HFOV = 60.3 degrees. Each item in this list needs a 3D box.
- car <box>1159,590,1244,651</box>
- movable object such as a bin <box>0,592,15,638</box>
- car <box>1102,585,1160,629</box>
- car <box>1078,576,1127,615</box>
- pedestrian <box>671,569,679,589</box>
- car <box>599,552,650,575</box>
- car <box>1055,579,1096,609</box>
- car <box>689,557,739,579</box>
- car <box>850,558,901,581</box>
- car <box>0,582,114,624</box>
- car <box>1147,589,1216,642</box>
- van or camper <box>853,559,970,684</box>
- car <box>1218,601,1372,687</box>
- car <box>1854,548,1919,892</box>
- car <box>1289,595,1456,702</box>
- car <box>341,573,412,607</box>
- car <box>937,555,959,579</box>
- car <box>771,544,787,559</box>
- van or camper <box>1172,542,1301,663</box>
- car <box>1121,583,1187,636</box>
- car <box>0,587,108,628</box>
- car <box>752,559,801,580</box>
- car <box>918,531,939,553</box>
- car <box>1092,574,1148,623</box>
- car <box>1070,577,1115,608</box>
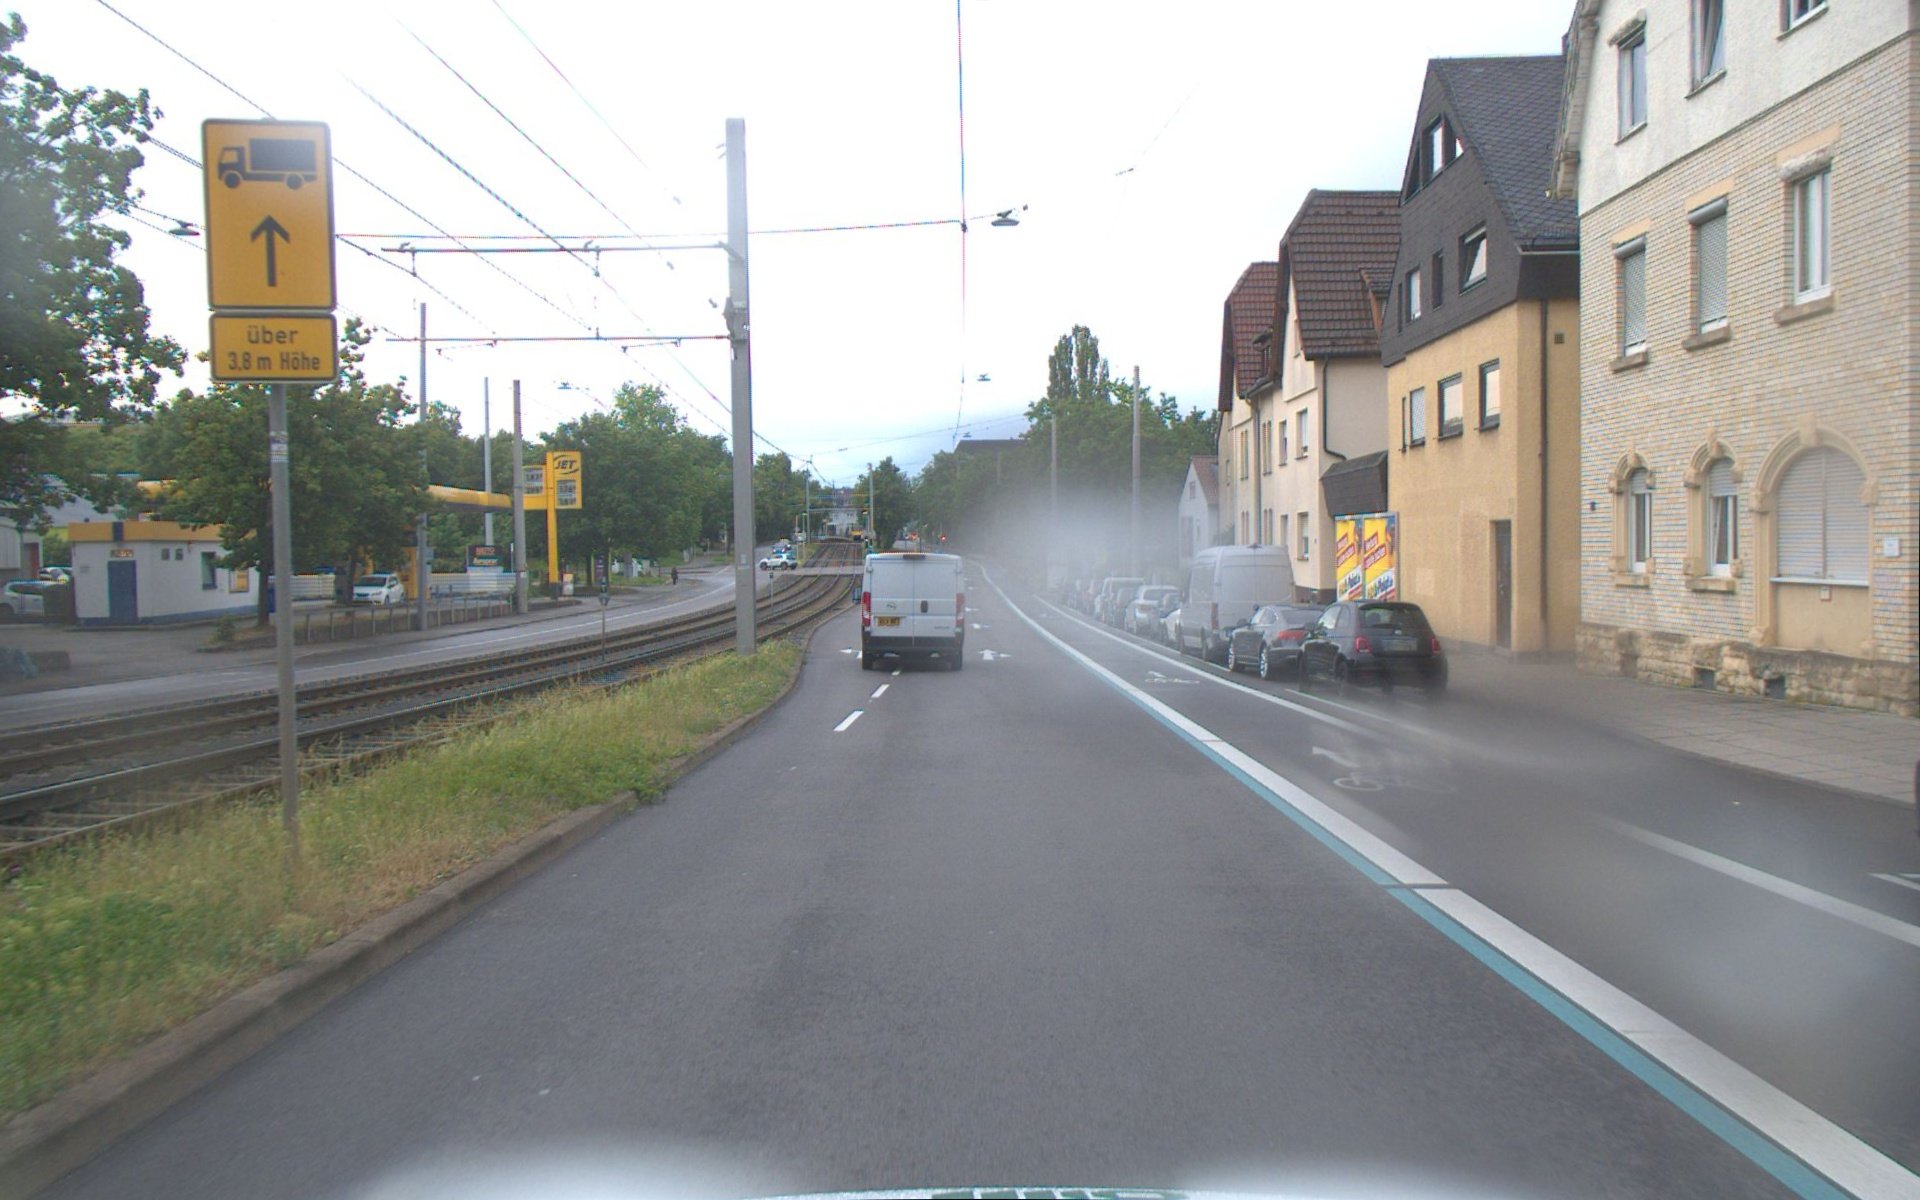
[{"bbox_3d":[6.499,0.522,44.892,1.674,1.471,4.041,1,1,0],"label":"car"},{"bbox_3d":[-31.469,0.464,52.678,1.958,1.399,1.565,1,2,-12],"label":"movable object such as a bin"},{"bbox_3d":[6.230,0.232,60.608,1.613,1.471,3.954,1,1,-1],"label":"car"},{"bbox_3d":[6.515,-0.241,75.957,1.810,1.674,3.953,1,1,-2],"label":"car"},{"bbox_3d":[-22.344,-1.648,129.635,0.602,1.501,0.641,-1,0,-14],"label":"pedestrian"},{"bbox_3d":[-31.707,-3.422,156.461,4.420,2.049,2.000,1,0,0],"label":"car"},{"bbox_3d":[6.214,-0.341,89.455,1.810,1.526,3.953,1,0,-2],"label":"car"},{"bbox_3d":[-24.328,-3.183,163.608,4.420,2.049,2.000,1,0,21],"label":"car"},{"bbox_3d":[-7.810,-2.817,152.974,4.437,2.049,1.993,1,0,36],"label":"car"},{"bbox_3d":[-33.085,0.119,60.493,3.718,1.479,1.539,1,-1,-27],"label":"car"},{"bbox_3d":[6.634,0.451,49.921,1.592,1.473,3.708,1,1,0],"label":"car"},{"bbox_3d":[-1.056,0.401,33.295,2.155,2.292,4.680,1,0,-4],"label":"van or camper"},{"bbox_3d":[6.369,0.788,31.931,1.753,1.430,4.549,1,1,-4],"label":"car"},{"bbox_3d":[6.038,0.669,7.096,1.802,1.831,4.686,2,0,-1],"label":"car"},{"bbox_3d":[6.447,0.717,26.175,1.534,1.524,3.510,2,0,-4],"label":"car"},{"bbox_3d":[-26.539,-0.451,75.322,1.954,1.467,3.998,1,0,-3],"label":"car"},{"bbox_3d":[-1.089,-2.929,148.050,1.953,2.049,3.999,1,0,-1],"label":"car"},{"bbox_3d":[-23.014,-6.154,210.333,1.656,1.741,3.775,1,0,-2],"label":"car"},{"bbox_3d":[6.405,-0.019,39.030,1.953,2.608,6.043,1,1,-1],"label":"van or camper"},{"bbox_3d":[6.417,0.280,54.991,1.613,1.643,4.104,1,1,-1],"label":"car"},{"bbox_3d":[-35.594,0.301,64.944,3.718,1.505,1.562,1,0,-27],"label":"car"},{"bbox_3d":[-18.366,-3.065,165.196,4.420,2.049,2.000,1,0,21],"label":"car"},{"bbox_3d":[-3.160,-5.799,165.930,1.954,2.049,3.997,1,0,-4],"label":"car"},{"bbox_3d":[6.338,-0.090,65.997,1.711,1.839,3.953,1,1,-2],"label":"car"},{"bbox_3d":[6.675,-0.391,83.557,1.810,1.526,3.953,1,0,-2],"label":"car"}]
